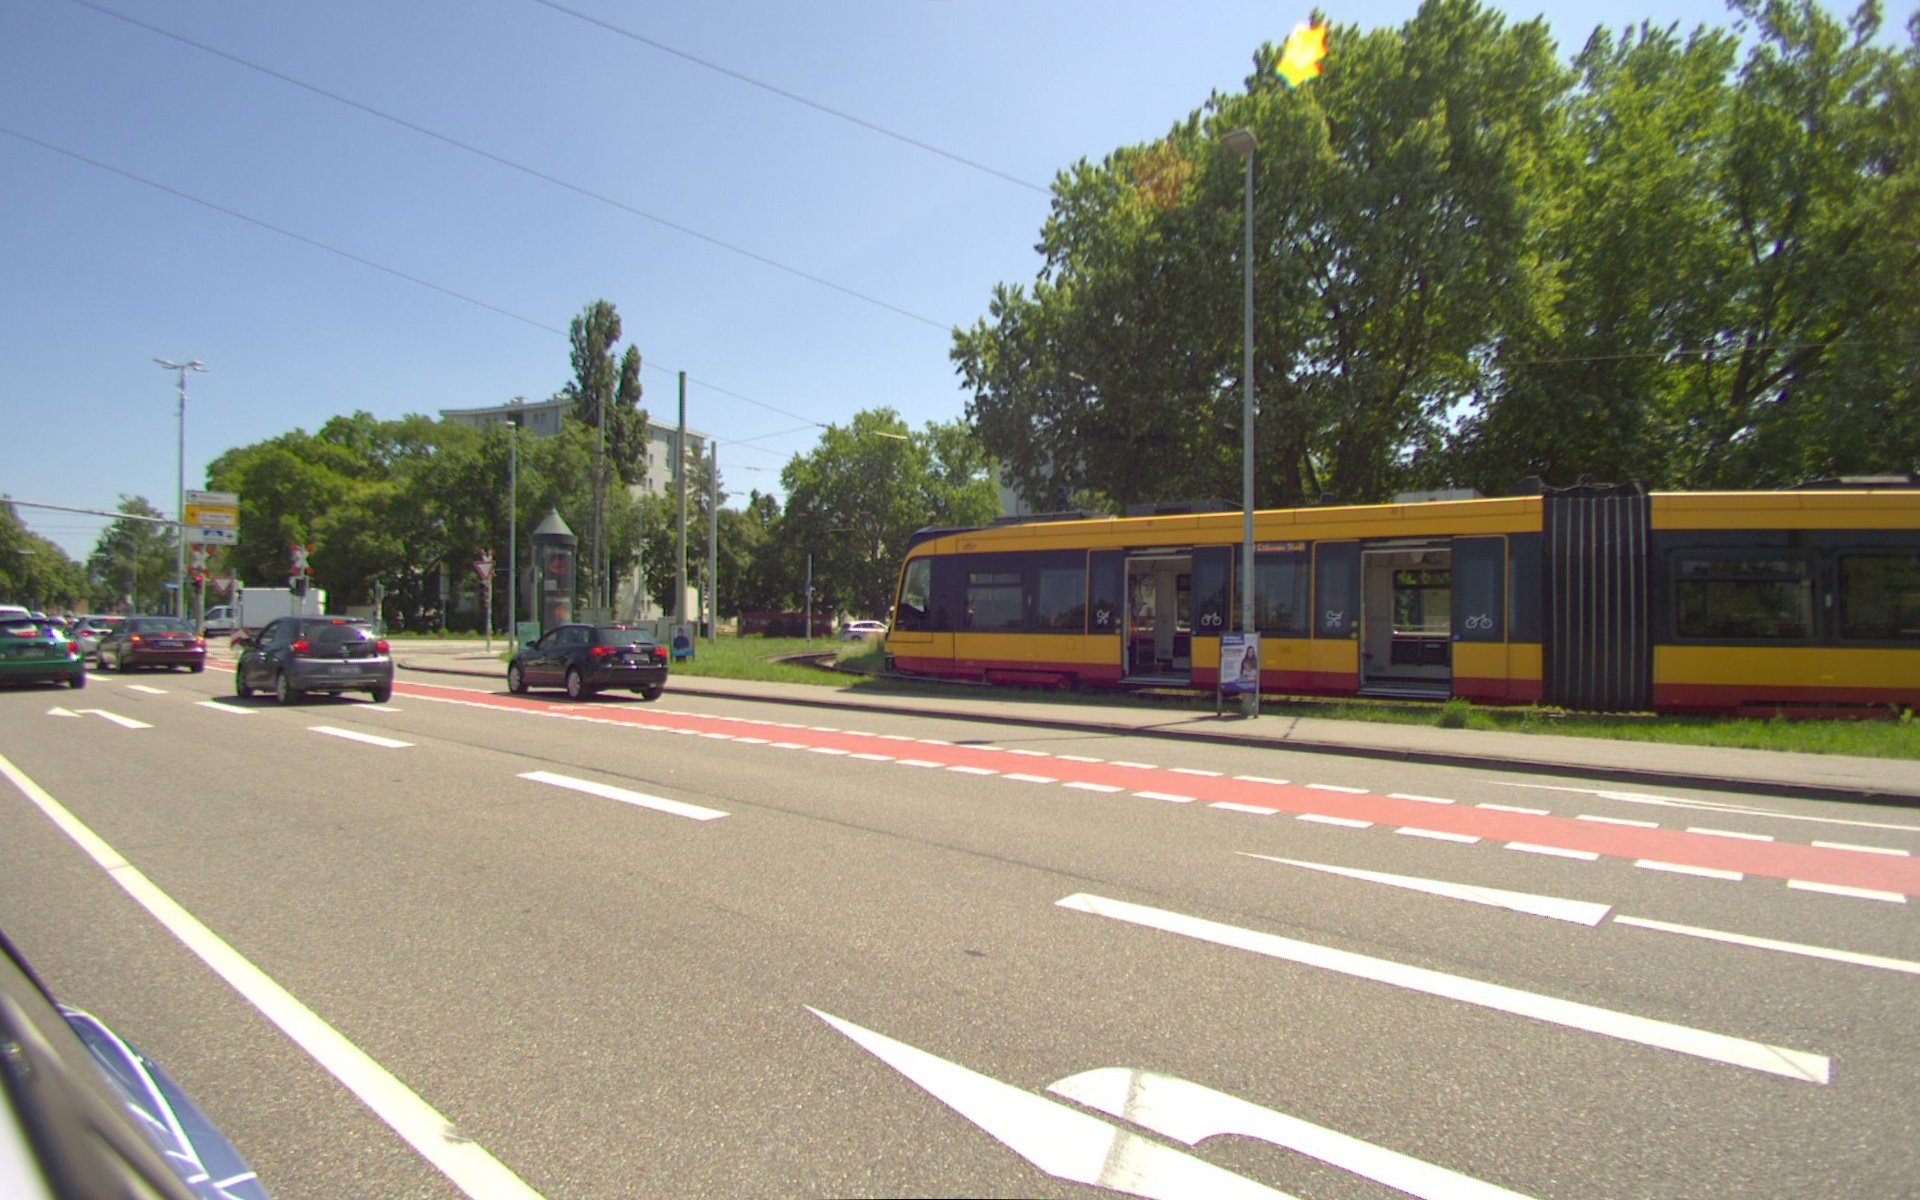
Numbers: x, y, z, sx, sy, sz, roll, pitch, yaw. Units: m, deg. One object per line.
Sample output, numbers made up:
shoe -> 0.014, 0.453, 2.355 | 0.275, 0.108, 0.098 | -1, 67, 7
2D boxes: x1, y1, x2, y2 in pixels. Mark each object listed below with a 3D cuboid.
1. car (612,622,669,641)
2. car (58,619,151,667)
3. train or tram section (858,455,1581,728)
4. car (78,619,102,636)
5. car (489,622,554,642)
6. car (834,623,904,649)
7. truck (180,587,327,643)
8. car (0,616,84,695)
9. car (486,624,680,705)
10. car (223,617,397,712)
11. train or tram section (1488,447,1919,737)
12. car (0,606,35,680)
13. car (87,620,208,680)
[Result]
car -> -23.665, 2.337, 74.952 | 3.931, 1.296, 1.892 | 1, -4, -20
car -> -28.069, 1.376, 33.158 | 4.412, 1.467, 1.772 | -1, -3, 43
train or tram section -> 3.967, 0.041, 19.051 | 12.966, 3.788, 2.989 | -1, -3, 36
car -> -88.729, 2.817, 103.175 | 1.783, 1.731, 4.349 | 2, -3, -41
car -> -29.788, 2.216, 68.813 | 3.931, 1.296, 1.752 | 1, -4, -20
car -> -5.843, 2.299, 64.792 | 4.186, 1.558, 1.751 | 0, -4, -14
truck -> -47.176, 1.071, 67.869 | 7.579, 3.560, 2.596 | 1, -4, -17
car -> -19.161, 1.081, 20.514 | 3.990, 1.474, 1.704 | -1, -2, 43
car -> -7.465, 1.236, 19.840 | 4.440, 1.416, 1.724 | -2, -5, 43
car -> -11.278, 1.048, 17.484 | 3.500, 1.467, 1.605 | -1, -3, 42
train or tram section -> 14.277, -0.032, 14.441 | 11.488, 3.788, 3.016 | 0, -3, 10
car -> -24.755, 1.061, 25.406 | 4.829, 1.736, 1.792 | -1, -2, 42
car -> -21.537, 1.268, 26.767 | 4.283, 1.468, 1.741 | -1, -2, 41
